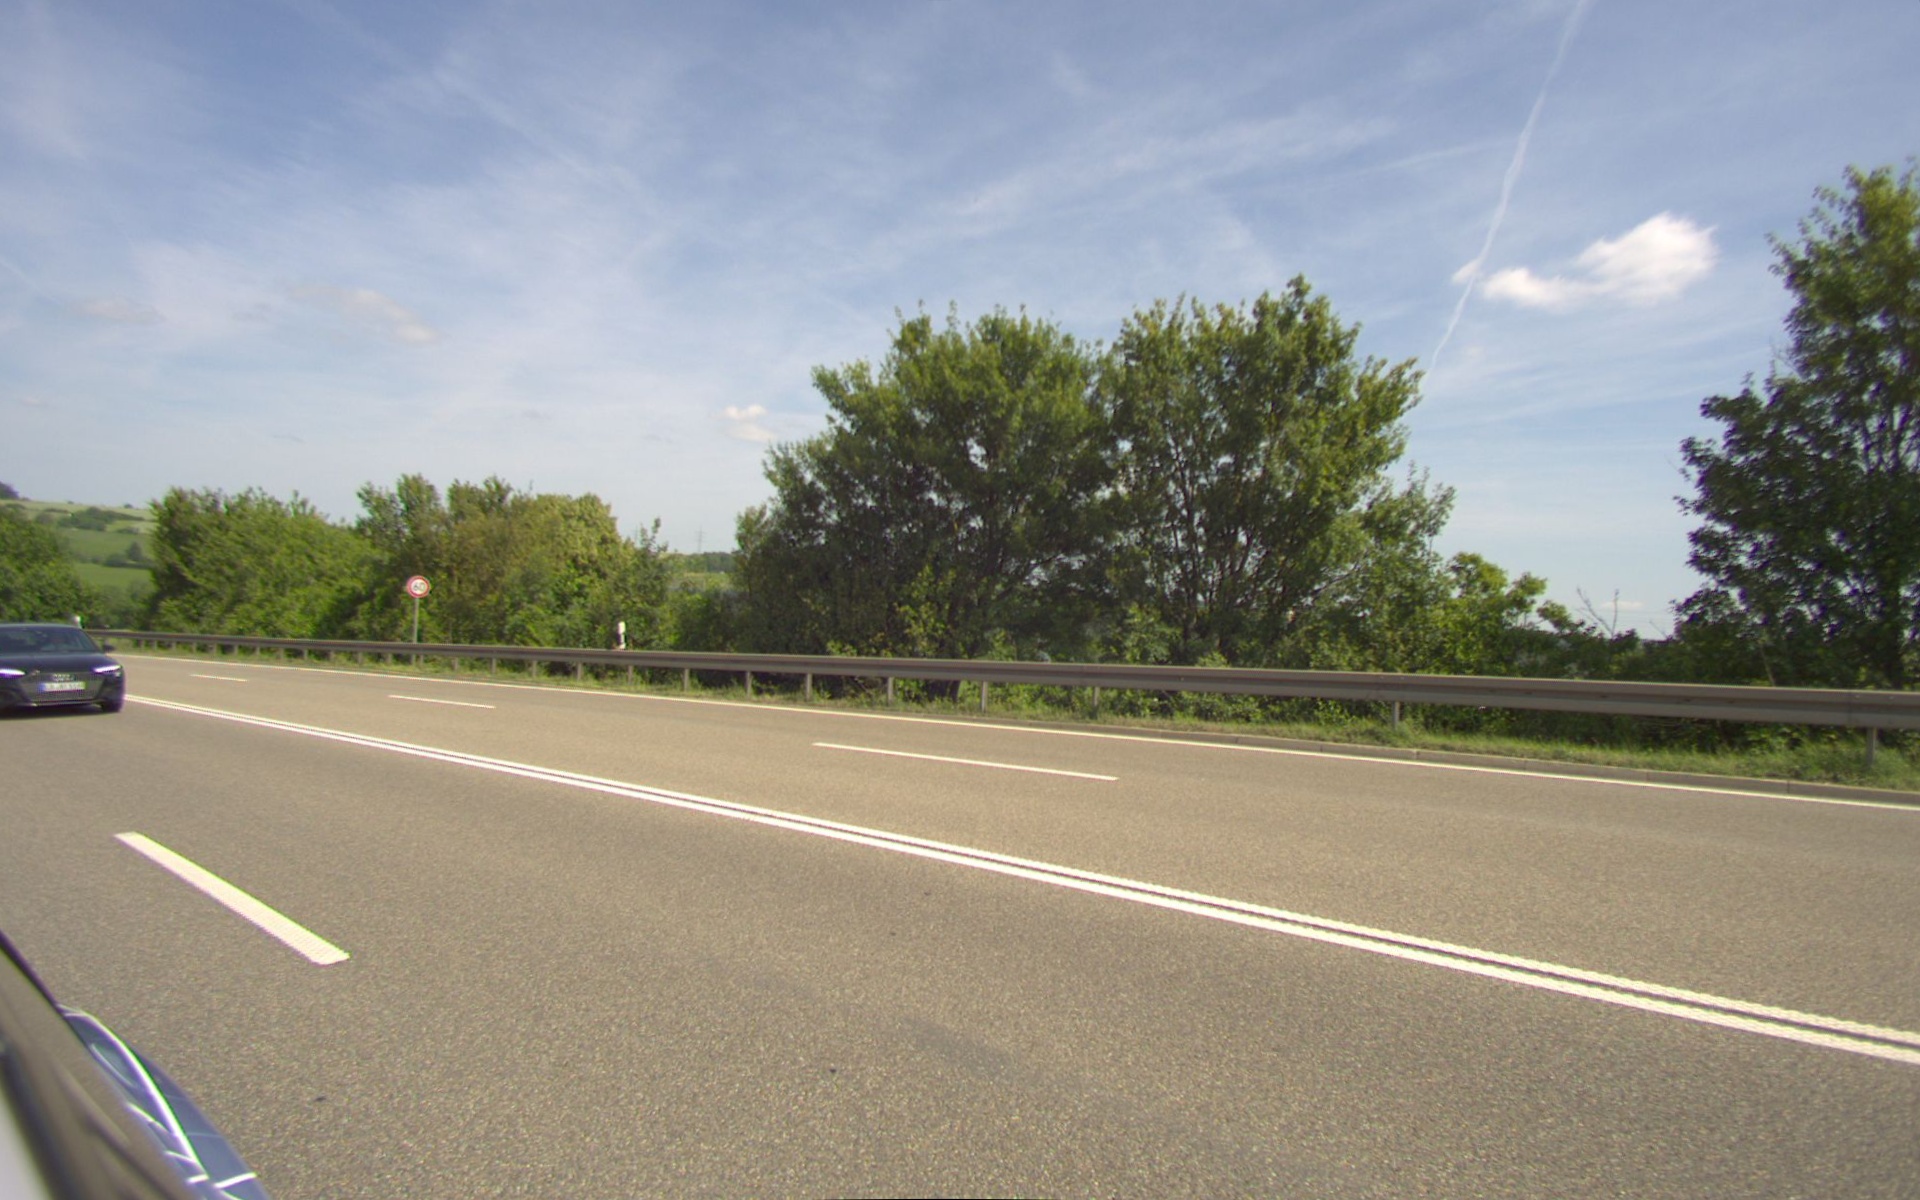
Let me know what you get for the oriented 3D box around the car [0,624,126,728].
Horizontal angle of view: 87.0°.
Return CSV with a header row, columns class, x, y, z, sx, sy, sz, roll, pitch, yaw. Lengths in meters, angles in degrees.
class,x,y,z,sx,sy,sz,roll,pitch,yaw
car,-15.376,1.150,16.588,4.805,1.483,1.688,-1,-2,39
